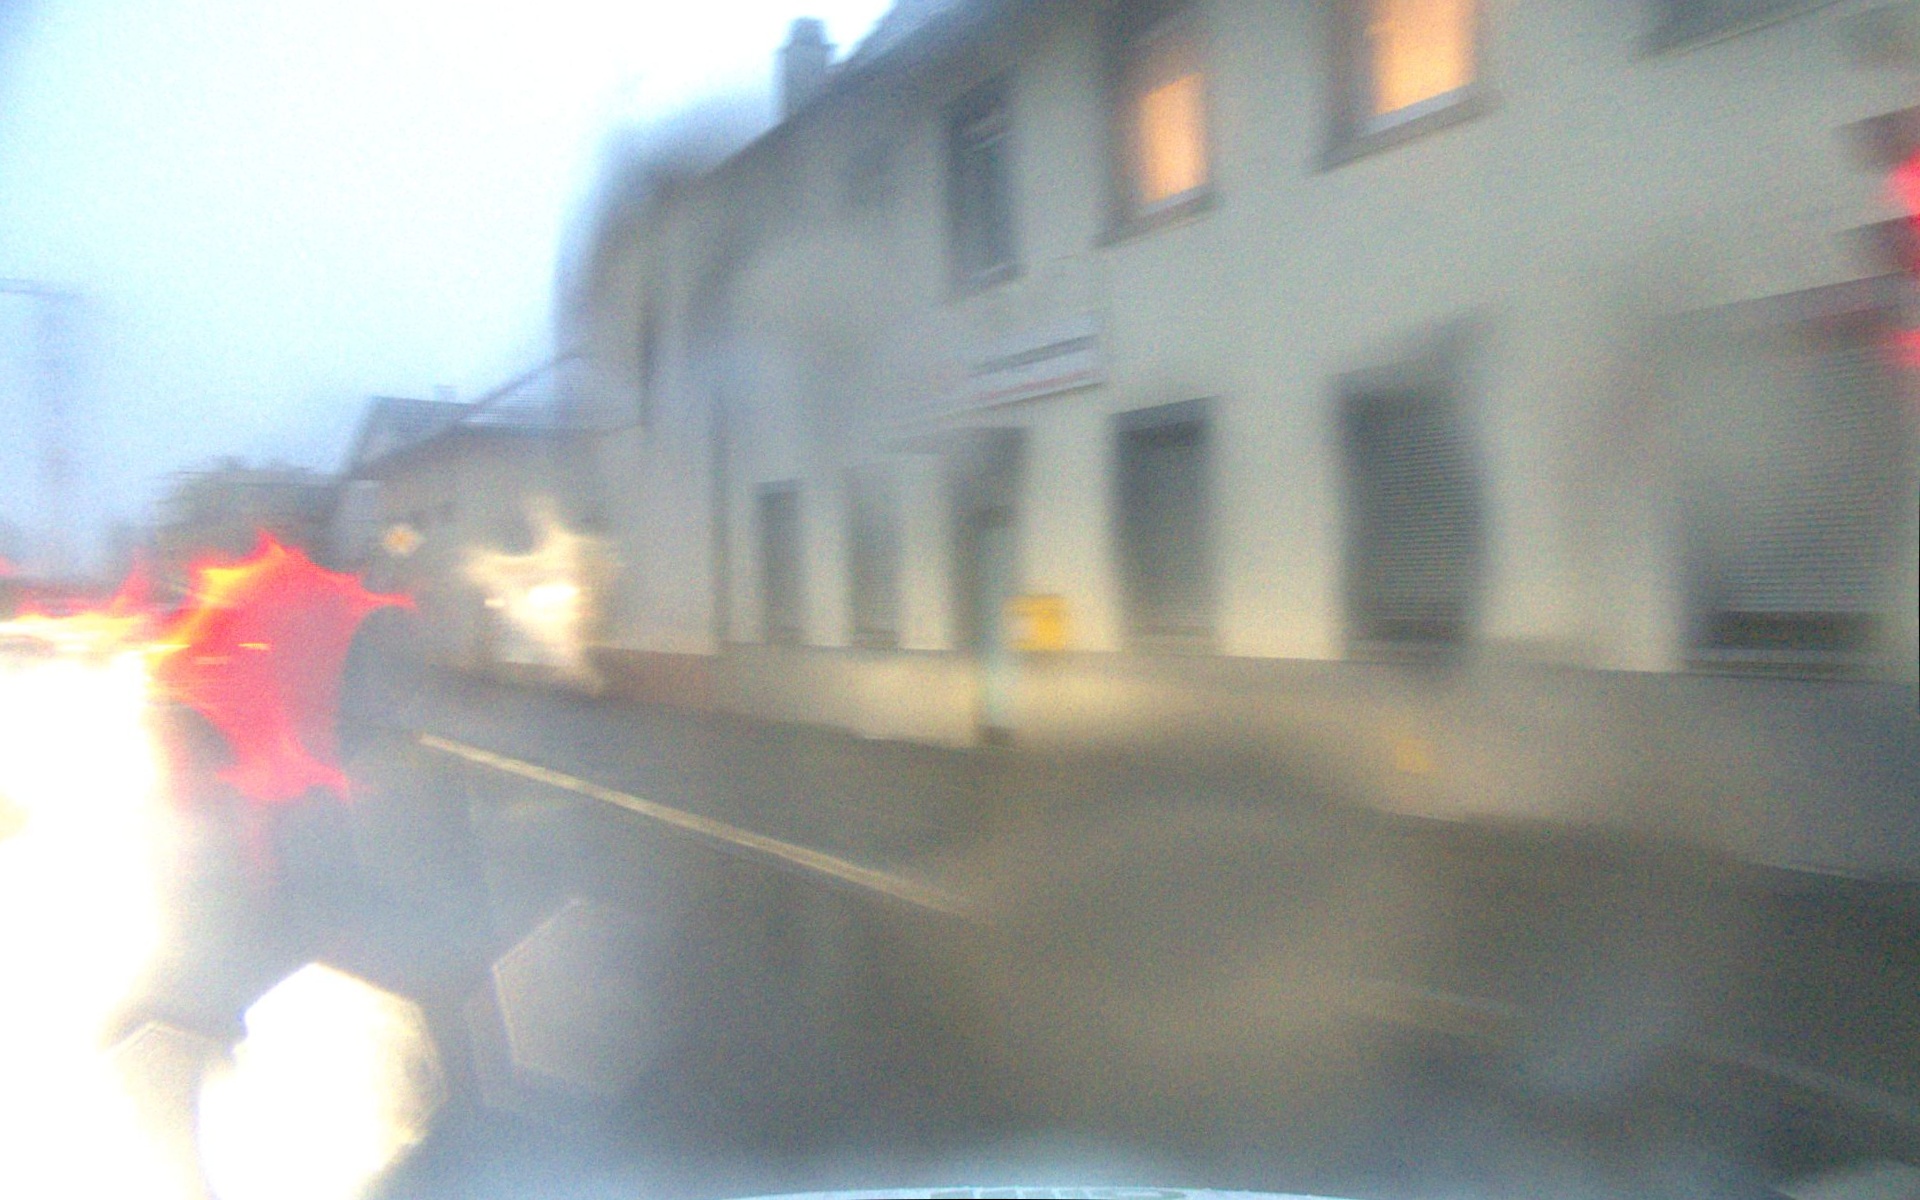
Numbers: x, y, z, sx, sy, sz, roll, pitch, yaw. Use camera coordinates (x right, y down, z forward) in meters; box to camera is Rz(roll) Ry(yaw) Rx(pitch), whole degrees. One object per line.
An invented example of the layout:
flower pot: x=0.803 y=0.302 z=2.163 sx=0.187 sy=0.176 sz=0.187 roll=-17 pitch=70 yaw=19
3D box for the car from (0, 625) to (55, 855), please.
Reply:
car: x=-7.834 y=0.962 z=12.291 sx=1.859 sy=1.418 sz=4.481 roll=-2 pitch=1 yaw=-28

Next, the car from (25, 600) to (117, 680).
car: x=-23.161 y=0.986 z=43.073 sx=1.972 sy=1.914 sz=3.961 roll=-2 pitch=1 yaw=-29

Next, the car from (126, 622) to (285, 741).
car: x=-11.685 y=1.185 z=25.587 sx=2.022 sy=1.600 sz=4.664 roll=-2 pitch=0 yaw=-26
